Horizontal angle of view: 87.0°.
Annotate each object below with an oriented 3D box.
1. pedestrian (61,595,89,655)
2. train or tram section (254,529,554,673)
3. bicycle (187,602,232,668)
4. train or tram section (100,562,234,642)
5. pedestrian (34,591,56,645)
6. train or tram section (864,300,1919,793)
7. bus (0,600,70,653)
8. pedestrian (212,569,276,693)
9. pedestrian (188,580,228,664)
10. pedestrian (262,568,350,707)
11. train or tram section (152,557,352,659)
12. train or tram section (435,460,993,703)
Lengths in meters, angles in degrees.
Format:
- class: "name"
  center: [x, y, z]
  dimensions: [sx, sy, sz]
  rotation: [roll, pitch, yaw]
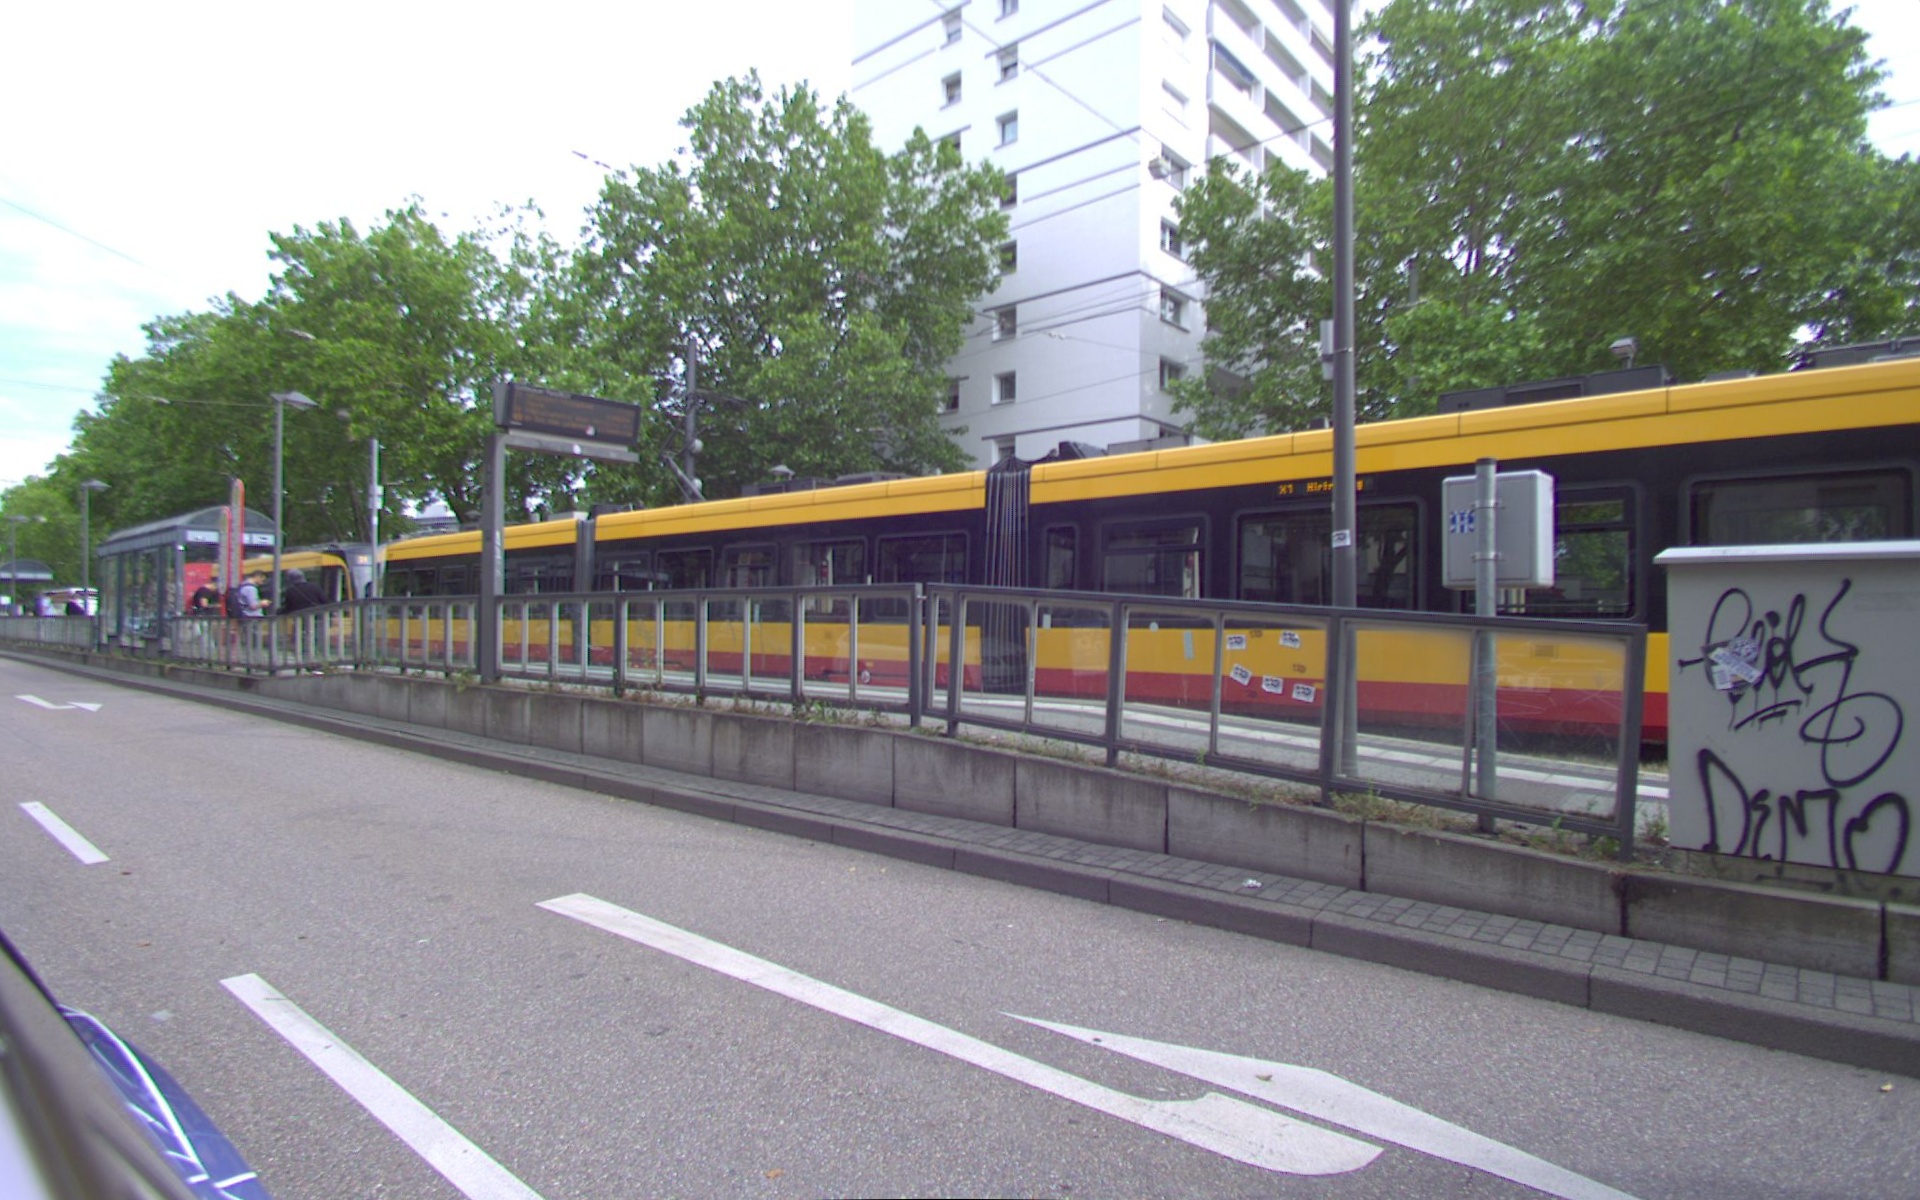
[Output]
- class: "pedestrian"
  center: [-24.730, 0.691, 28.266]
  dimensions: [0.730, 1.645, 0.506]
  rotation: [-1, 0, 42]
- class: "train or tram section"
  center: [-17.687, 0.066, 31.157]
  dimensions: [15.287, 3.558, 3.028]
  rotation: [-1, 0, 41]
- class: "bicycle"
  center: [-14.490, 0.657, 19.535]
  dimensions: [1.289, 1.231, 0.414]
  rotation: [-1, 0, 41]
- class: "train or tram section"
  center: [-39.966, 0.147, 50.758]
  dimensions: [12.533, 3.588, 3.060]
  rotation: [-1, 0, 41]
- class: "pedestrian"
  center: [-28.291, 0.561, 31.297]
  dimensions: [0.392, 1.645, 0.474]
  rotation: [-1, 0, 42]
- class: "train or tram section"
  center: [5.548, -0.379, 10.732]
  dimensions: [15.841, 3.615, 3.028]
  rotation: [-1, 0, 41]
- class: "bus"
  center: [-38.276, 1.052, 41.640]
  dimensions: [3.998, 2.029, 1.973]
  rotation: [-1, 0, 41]
- class: "pedestrian"
  center: [-12.033, 0.506, 17.034]
  dimensions: [0.742, 2.029, 0.821]
  rotation: [-1, 0, -26]
- class: "pedestrian"
  center: [-15.117, 0.436, 20.351]
  dimensions: [0.471, 1.645, 0.526]
  rotation: [-1, 0, 39]
- class: "pedestrian"
  center: [-9.797, 0.552, 15.190]
  dimensions: [0.808, 2.029, 0.754]
  rotation: [-1, 0, 4]
- class: "train or tram section"
  center: [-29.353, 0.326, 41.387]
  dimensions: [15.764, 3.558, 3.028]
  rotation: [-1, 0, 41]
- class: "train or tram section"
  center: [-6.194, -0.222, 21.053]
  dimensions: [15.287, 3.558, 3.028]
  rotation: [-1, 0, 41]
